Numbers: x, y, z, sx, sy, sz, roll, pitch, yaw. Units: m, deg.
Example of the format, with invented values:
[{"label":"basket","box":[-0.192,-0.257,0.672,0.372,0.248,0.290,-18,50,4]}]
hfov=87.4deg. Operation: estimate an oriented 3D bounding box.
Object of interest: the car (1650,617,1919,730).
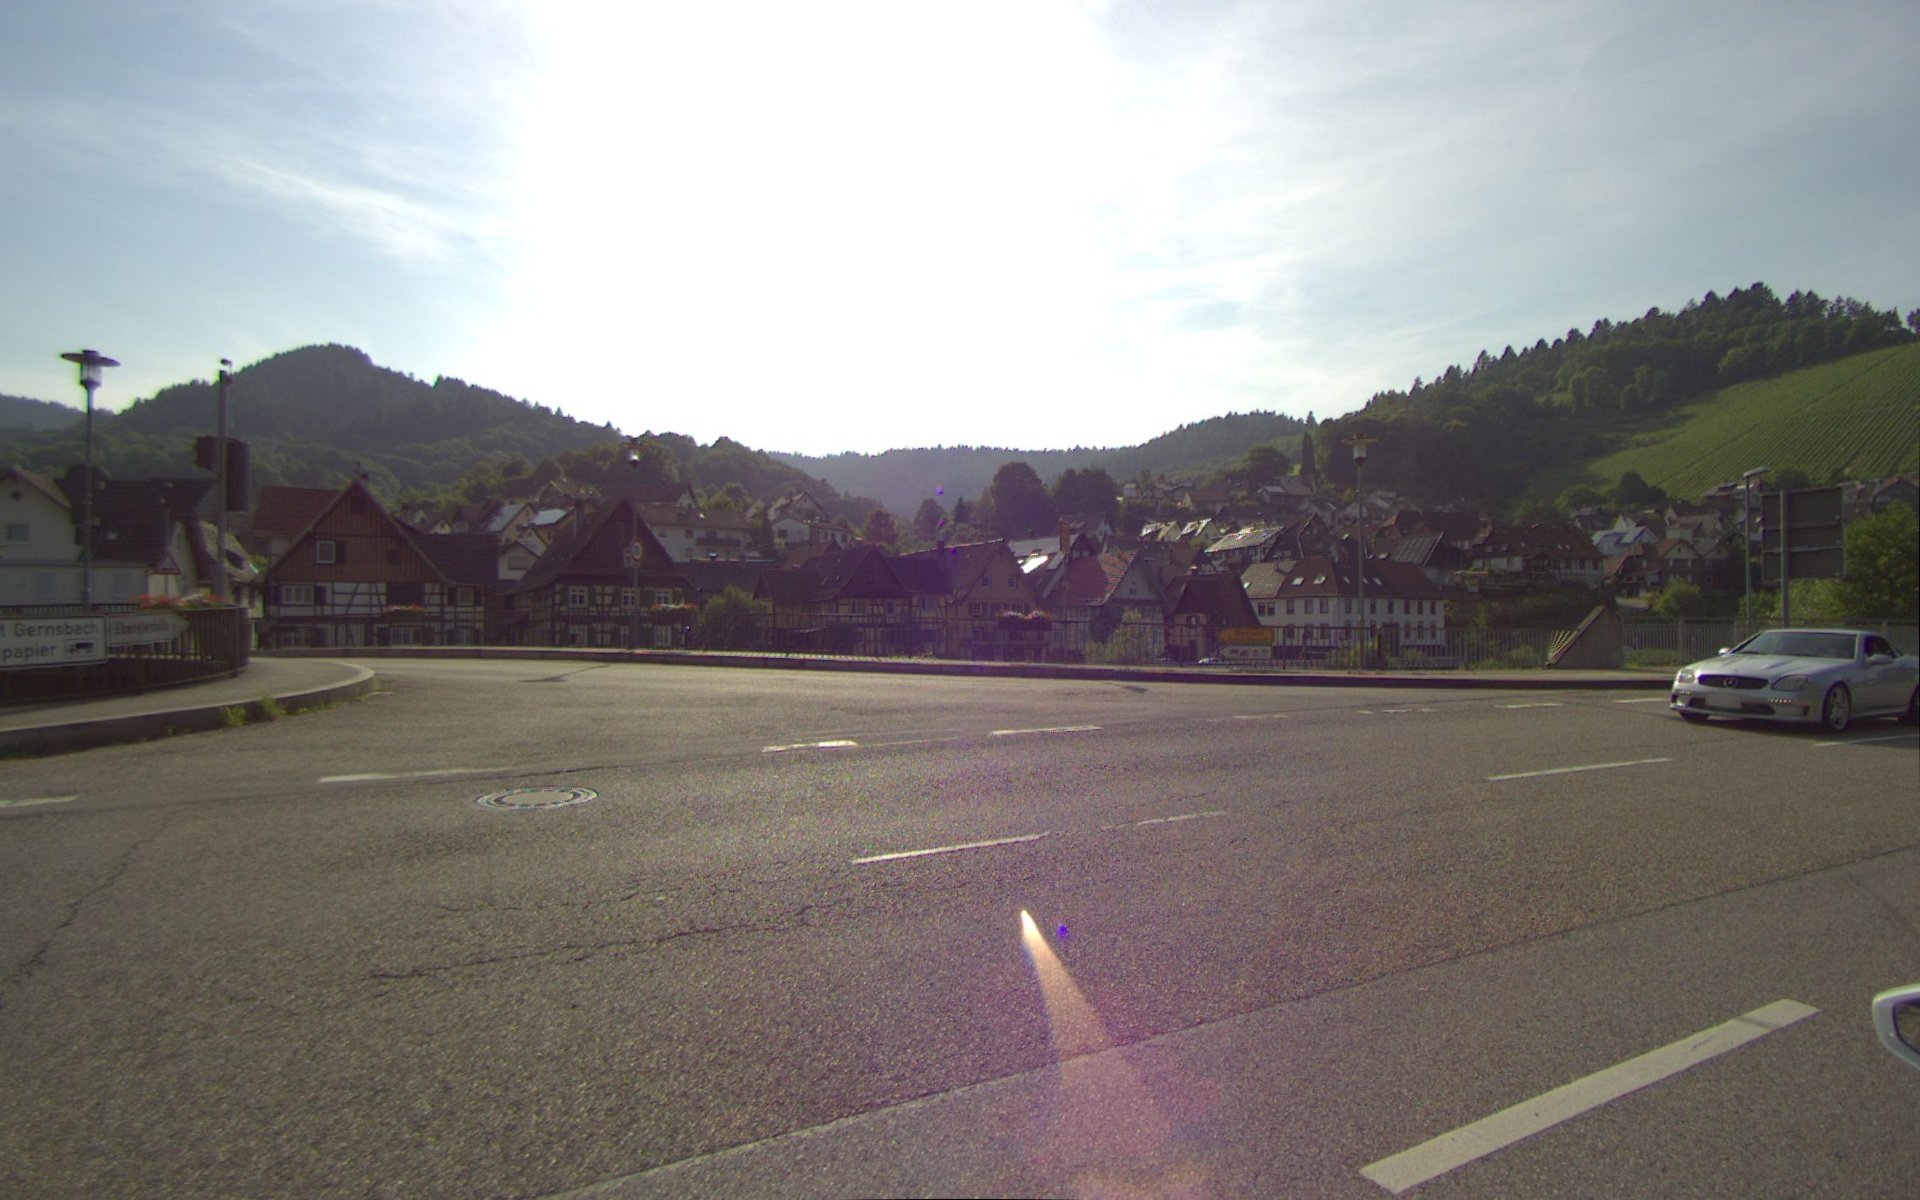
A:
[{"label":"car","box":[11.307,0.892,13.462,4.039,1.248,1.640,0,0,-26]}]

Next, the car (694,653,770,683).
[{"label":"car","box":[-14.502,4.294,63.971,4.495,1.714,1.483,0,0,-33]}]
